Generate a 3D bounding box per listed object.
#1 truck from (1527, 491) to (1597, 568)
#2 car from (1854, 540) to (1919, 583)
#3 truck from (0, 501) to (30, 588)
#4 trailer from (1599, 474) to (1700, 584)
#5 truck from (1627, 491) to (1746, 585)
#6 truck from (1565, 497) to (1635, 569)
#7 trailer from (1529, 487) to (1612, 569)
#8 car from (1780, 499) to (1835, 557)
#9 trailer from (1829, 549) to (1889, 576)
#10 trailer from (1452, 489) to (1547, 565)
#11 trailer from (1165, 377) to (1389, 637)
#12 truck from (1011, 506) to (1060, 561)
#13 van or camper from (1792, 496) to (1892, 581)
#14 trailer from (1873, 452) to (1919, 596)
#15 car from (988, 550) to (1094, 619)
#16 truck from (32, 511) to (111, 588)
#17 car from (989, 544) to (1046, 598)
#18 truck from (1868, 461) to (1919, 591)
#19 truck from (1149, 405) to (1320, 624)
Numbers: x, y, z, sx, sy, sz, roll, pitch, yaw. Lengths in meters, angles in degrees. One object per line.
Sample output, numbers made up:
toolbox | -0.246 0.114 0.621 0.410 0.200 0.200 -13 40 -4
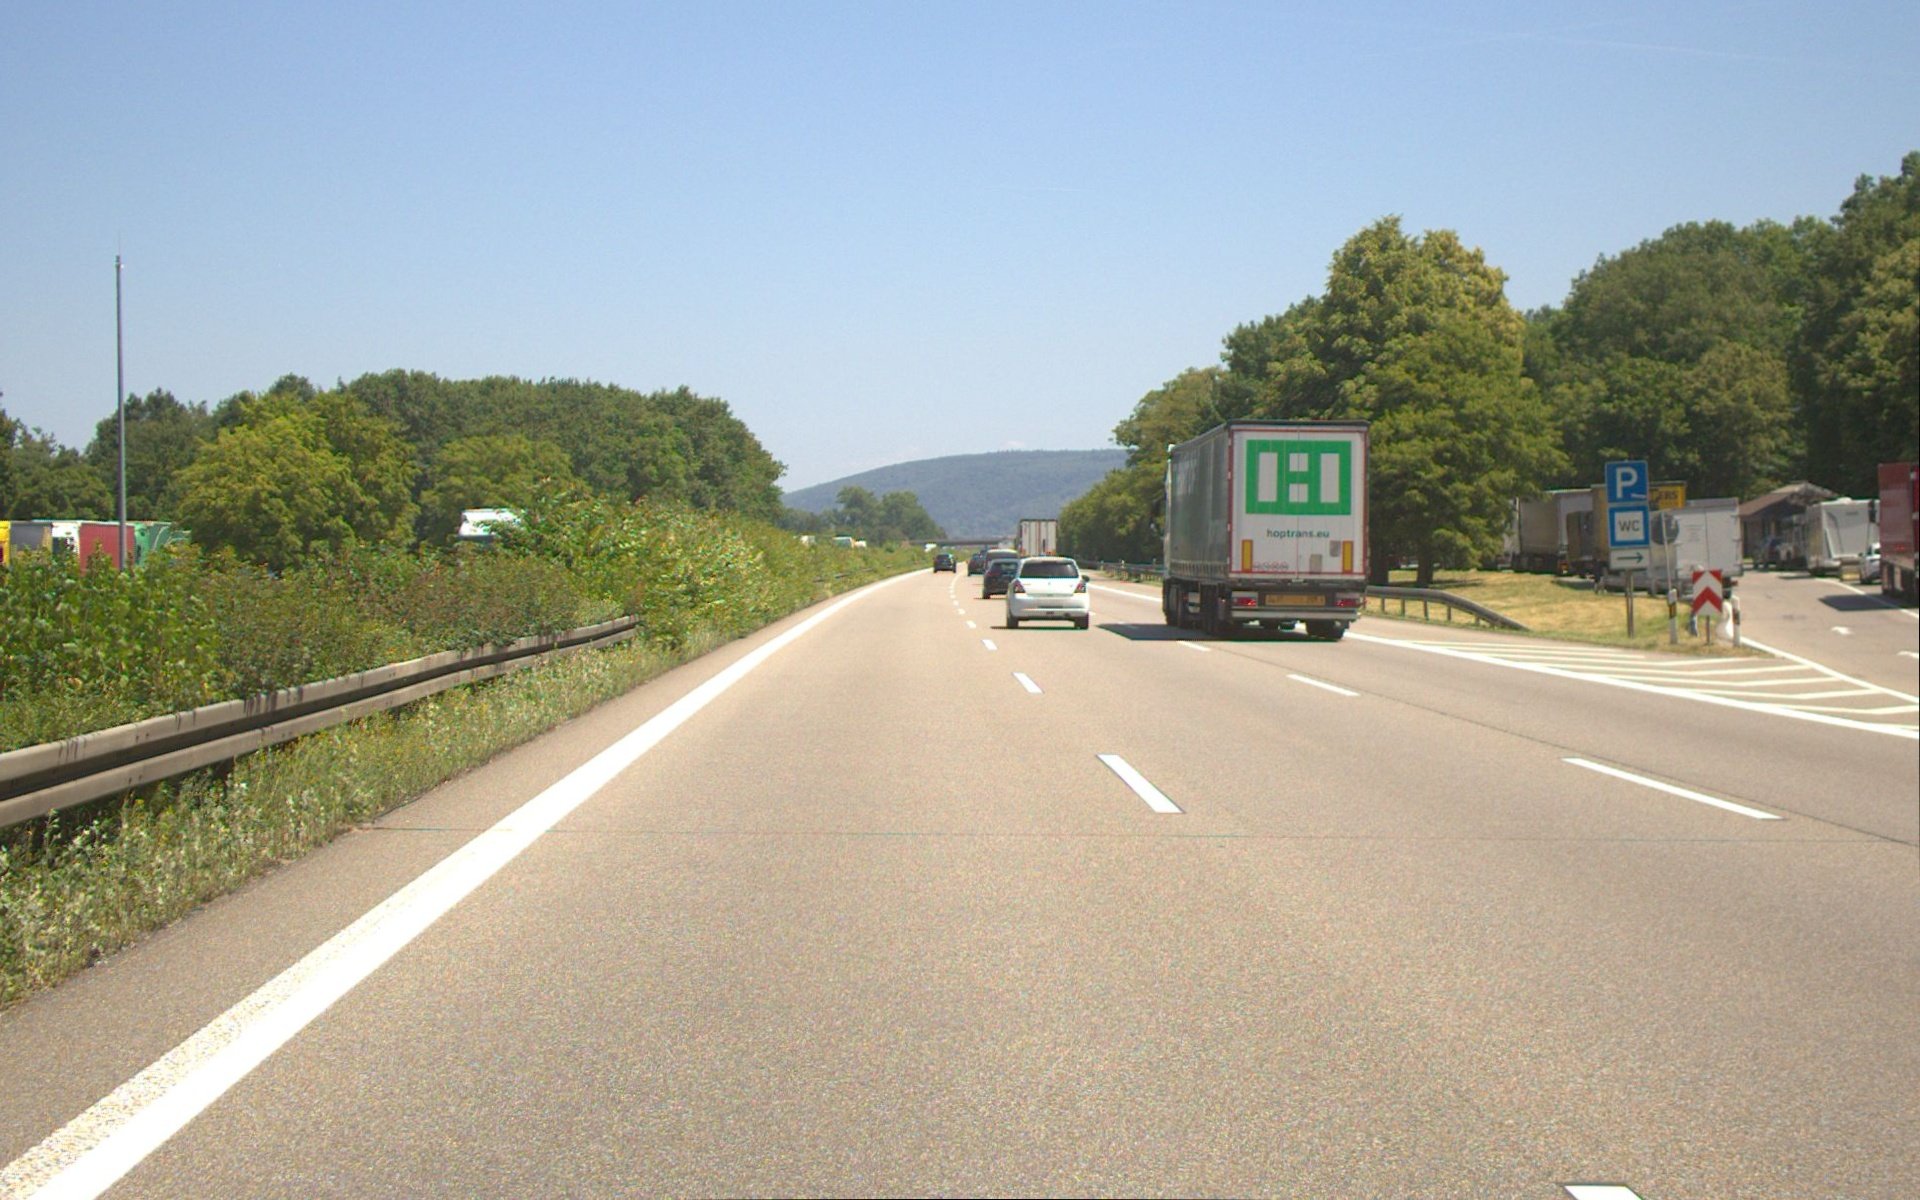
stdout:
truck | 30.123 -3.525 172.273 3.089 3.777 5.315 1 1 7
car | 32.284 -1.349 119.327 1.994 1.446 5.032 0 1 9
truck | -45.615 -2.562 161.413 2.609 3.957 10.003 -1 1 -9
trailer | 25.705 -2.606 128.564 3.185 3.921 11.546 0 1 9
truck | 23.353 -1.978 110.766 2.468 2.936 7.659 0 1 2
truck | 28.443 -2.970 152.864 2.468 3.076 6.615 1 1 6
trailer | 29.343 -3.432 165.689 3.103 3.777 13.360 1 1 7
car | 36.774 -3.122 149.224 1.994 2.431 4.777 -1 1 11
trailer | 33.060 -1.392 126.468 1.776 0.955 3.999 0 1 9
trailer | 29.152 -3.929 186.351 3.135 3.939 14.197 -1 1 1
trailer | 5.999 -1.756 67.171 3.182 4.611 12.051 0 1 0
truck | 5.350 -4.712 245.141 3.325 3.744 12.796 1 1 1
van or camper | 34.456 -2.398 134.504 2.999 3.223 6.998 -1 1 8
trailer | 28.057 -2.164 98.425 2.981 3.865 12.882 0 1 12
car | 1.706 -0.352 73.108 1.811 1.400 3.318 0 1 -6
truck | -47.118 -2.687 182.550 2.609 3.957 10.002 -1 1 -7
car | 2.096 -1.050 123.884 1.897 1.886 4.000 -1 1 3
truck | 29.619 -2.287 105.688 2.981 3.868 6.414 0 1 13
truck | 5.975 -1.851 75.803 3.182 4.591 5.948 -1 1 0
